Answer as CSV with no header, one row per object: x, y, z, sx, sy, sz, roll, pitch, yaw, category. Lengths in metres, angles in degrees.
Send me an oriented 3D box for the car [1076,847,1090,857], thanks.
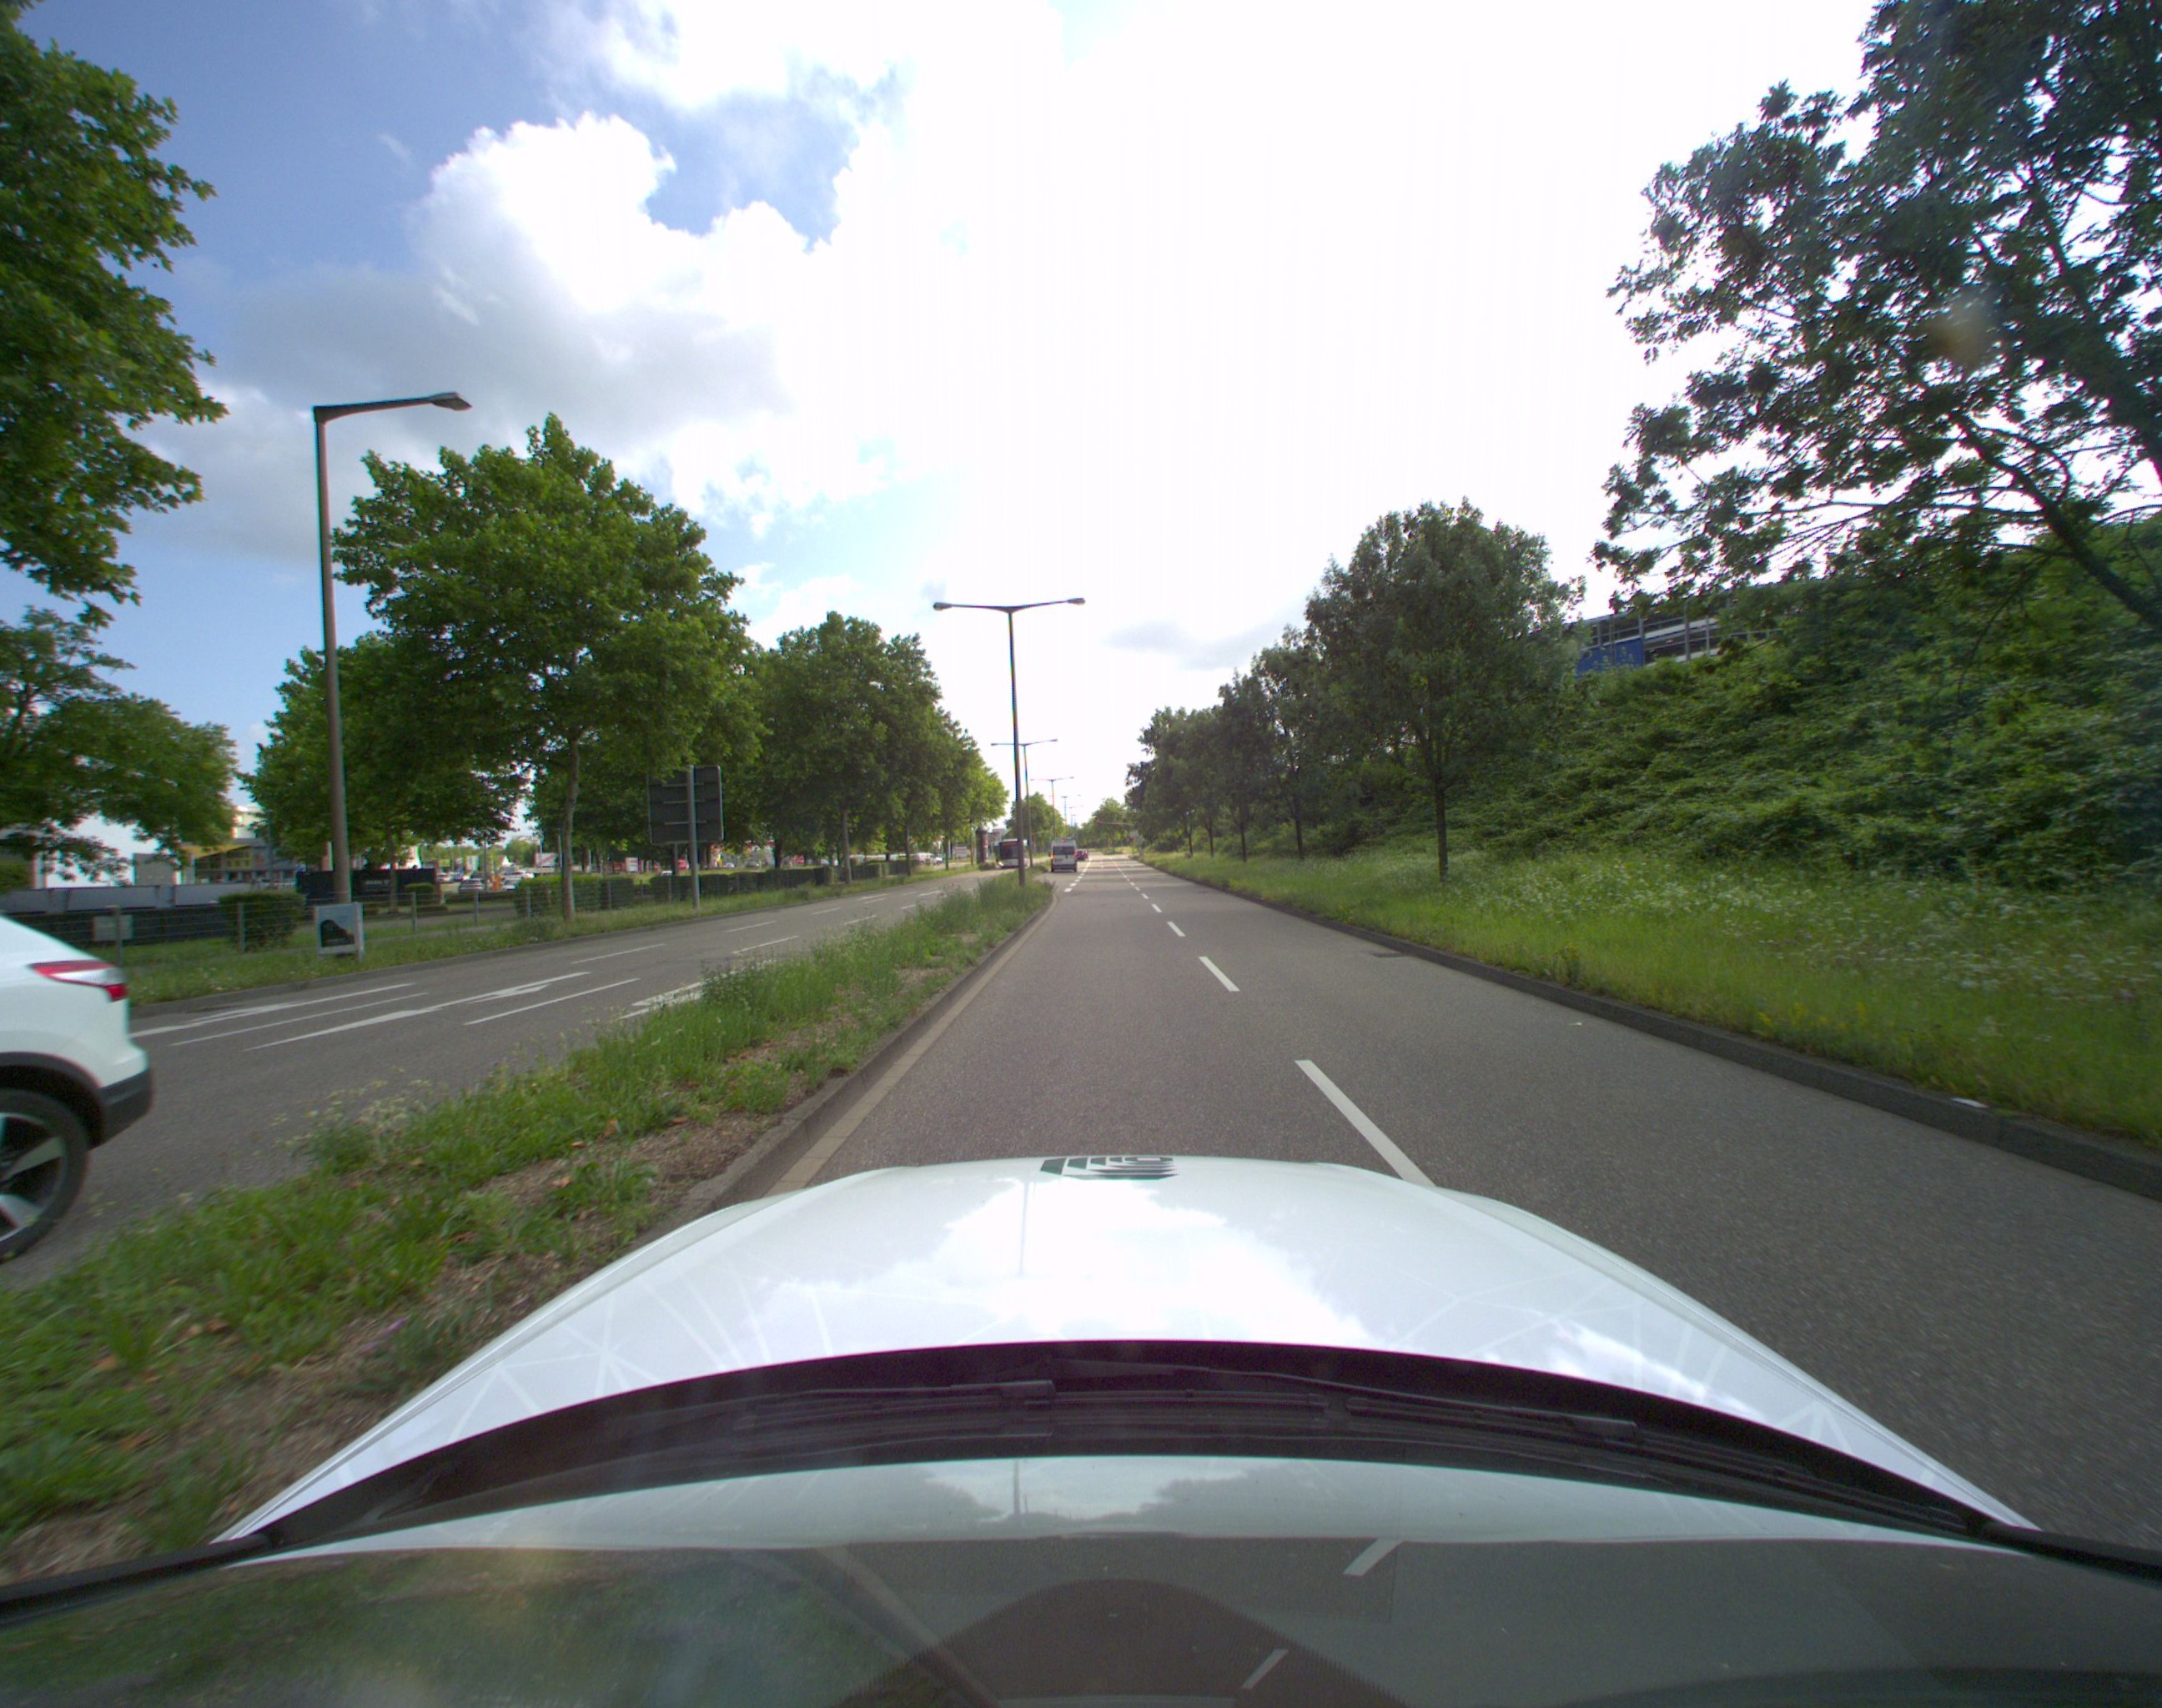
0.221,-0.299,123.085,1.803,1.470,3.851,-2,0,-4,car

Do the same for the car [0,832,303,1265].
-5.032,0.793,2.091,1.808,1.640,4.350,-4,0,-1,car

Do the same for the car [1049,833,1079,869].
-1.363,-0.224,64.348,2.191,2.726,4.928,-1,0,-2,car

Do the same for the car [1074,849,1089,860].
0.086,0.084,111.061,1.803,1.470,3.851,-2,0,-4,car

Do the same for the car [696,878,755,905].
-22.365,2.395,51.396,1.885,1.596,4.000,-1,-4,1,car

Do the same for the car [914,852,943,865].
-23.608,0.704,125.735,4.019,1.838,1.843,2,-5,-38,car

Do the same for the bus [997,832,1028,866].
-7.682,-0.415,90.435,3.105,3.274,12.312,-3,-1,-6,bus
